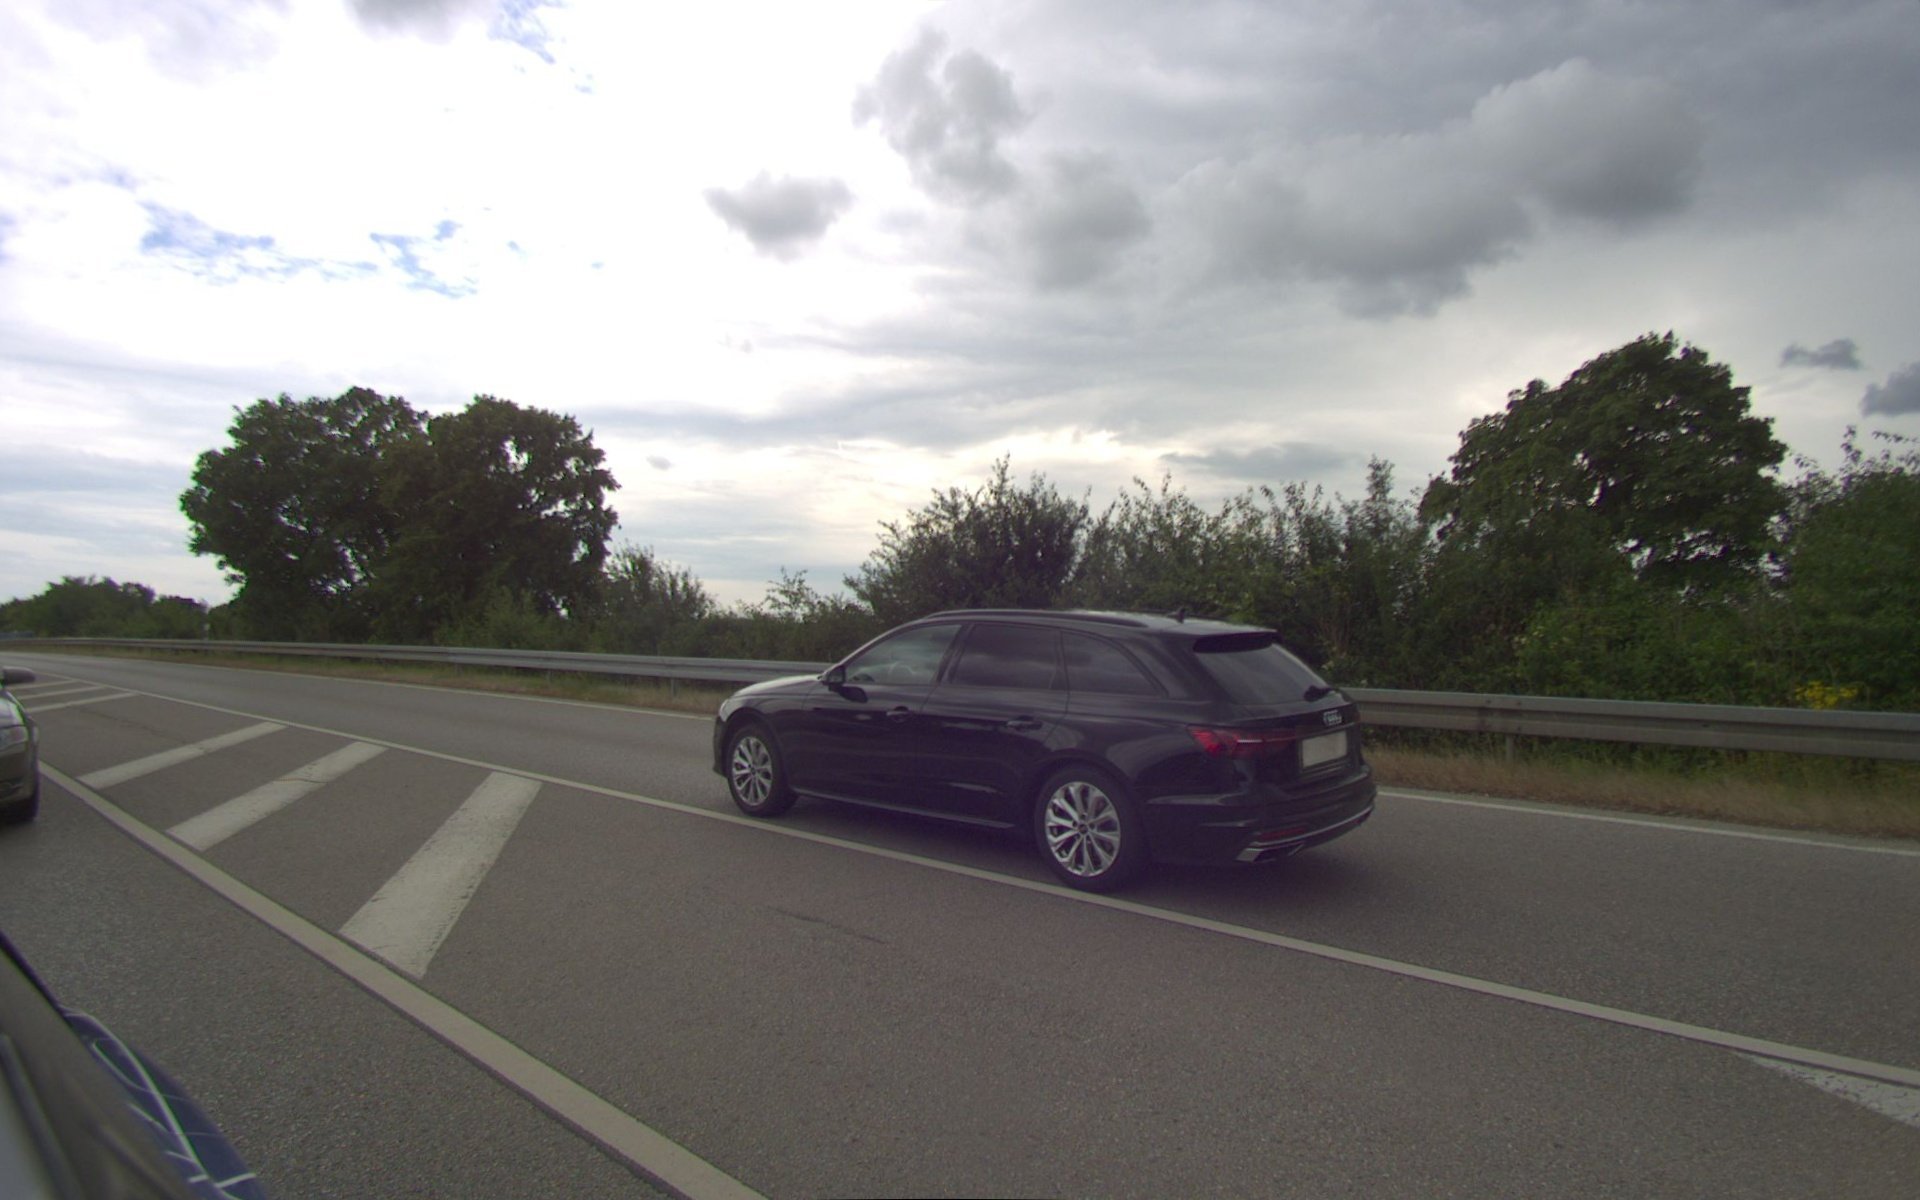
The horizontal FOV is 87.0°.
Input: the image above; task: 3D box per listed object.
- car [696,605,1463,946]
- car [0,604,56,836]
[{"bbox_3d":[0.412,0.746,6.355,4.610,1.385,1.801,-1,-1,42],"label":"car"},{"bbox_3d":[-7.949,0.795,7.219,4.032,1.461,1.761,-2,-1,41],"label":"car"}]
